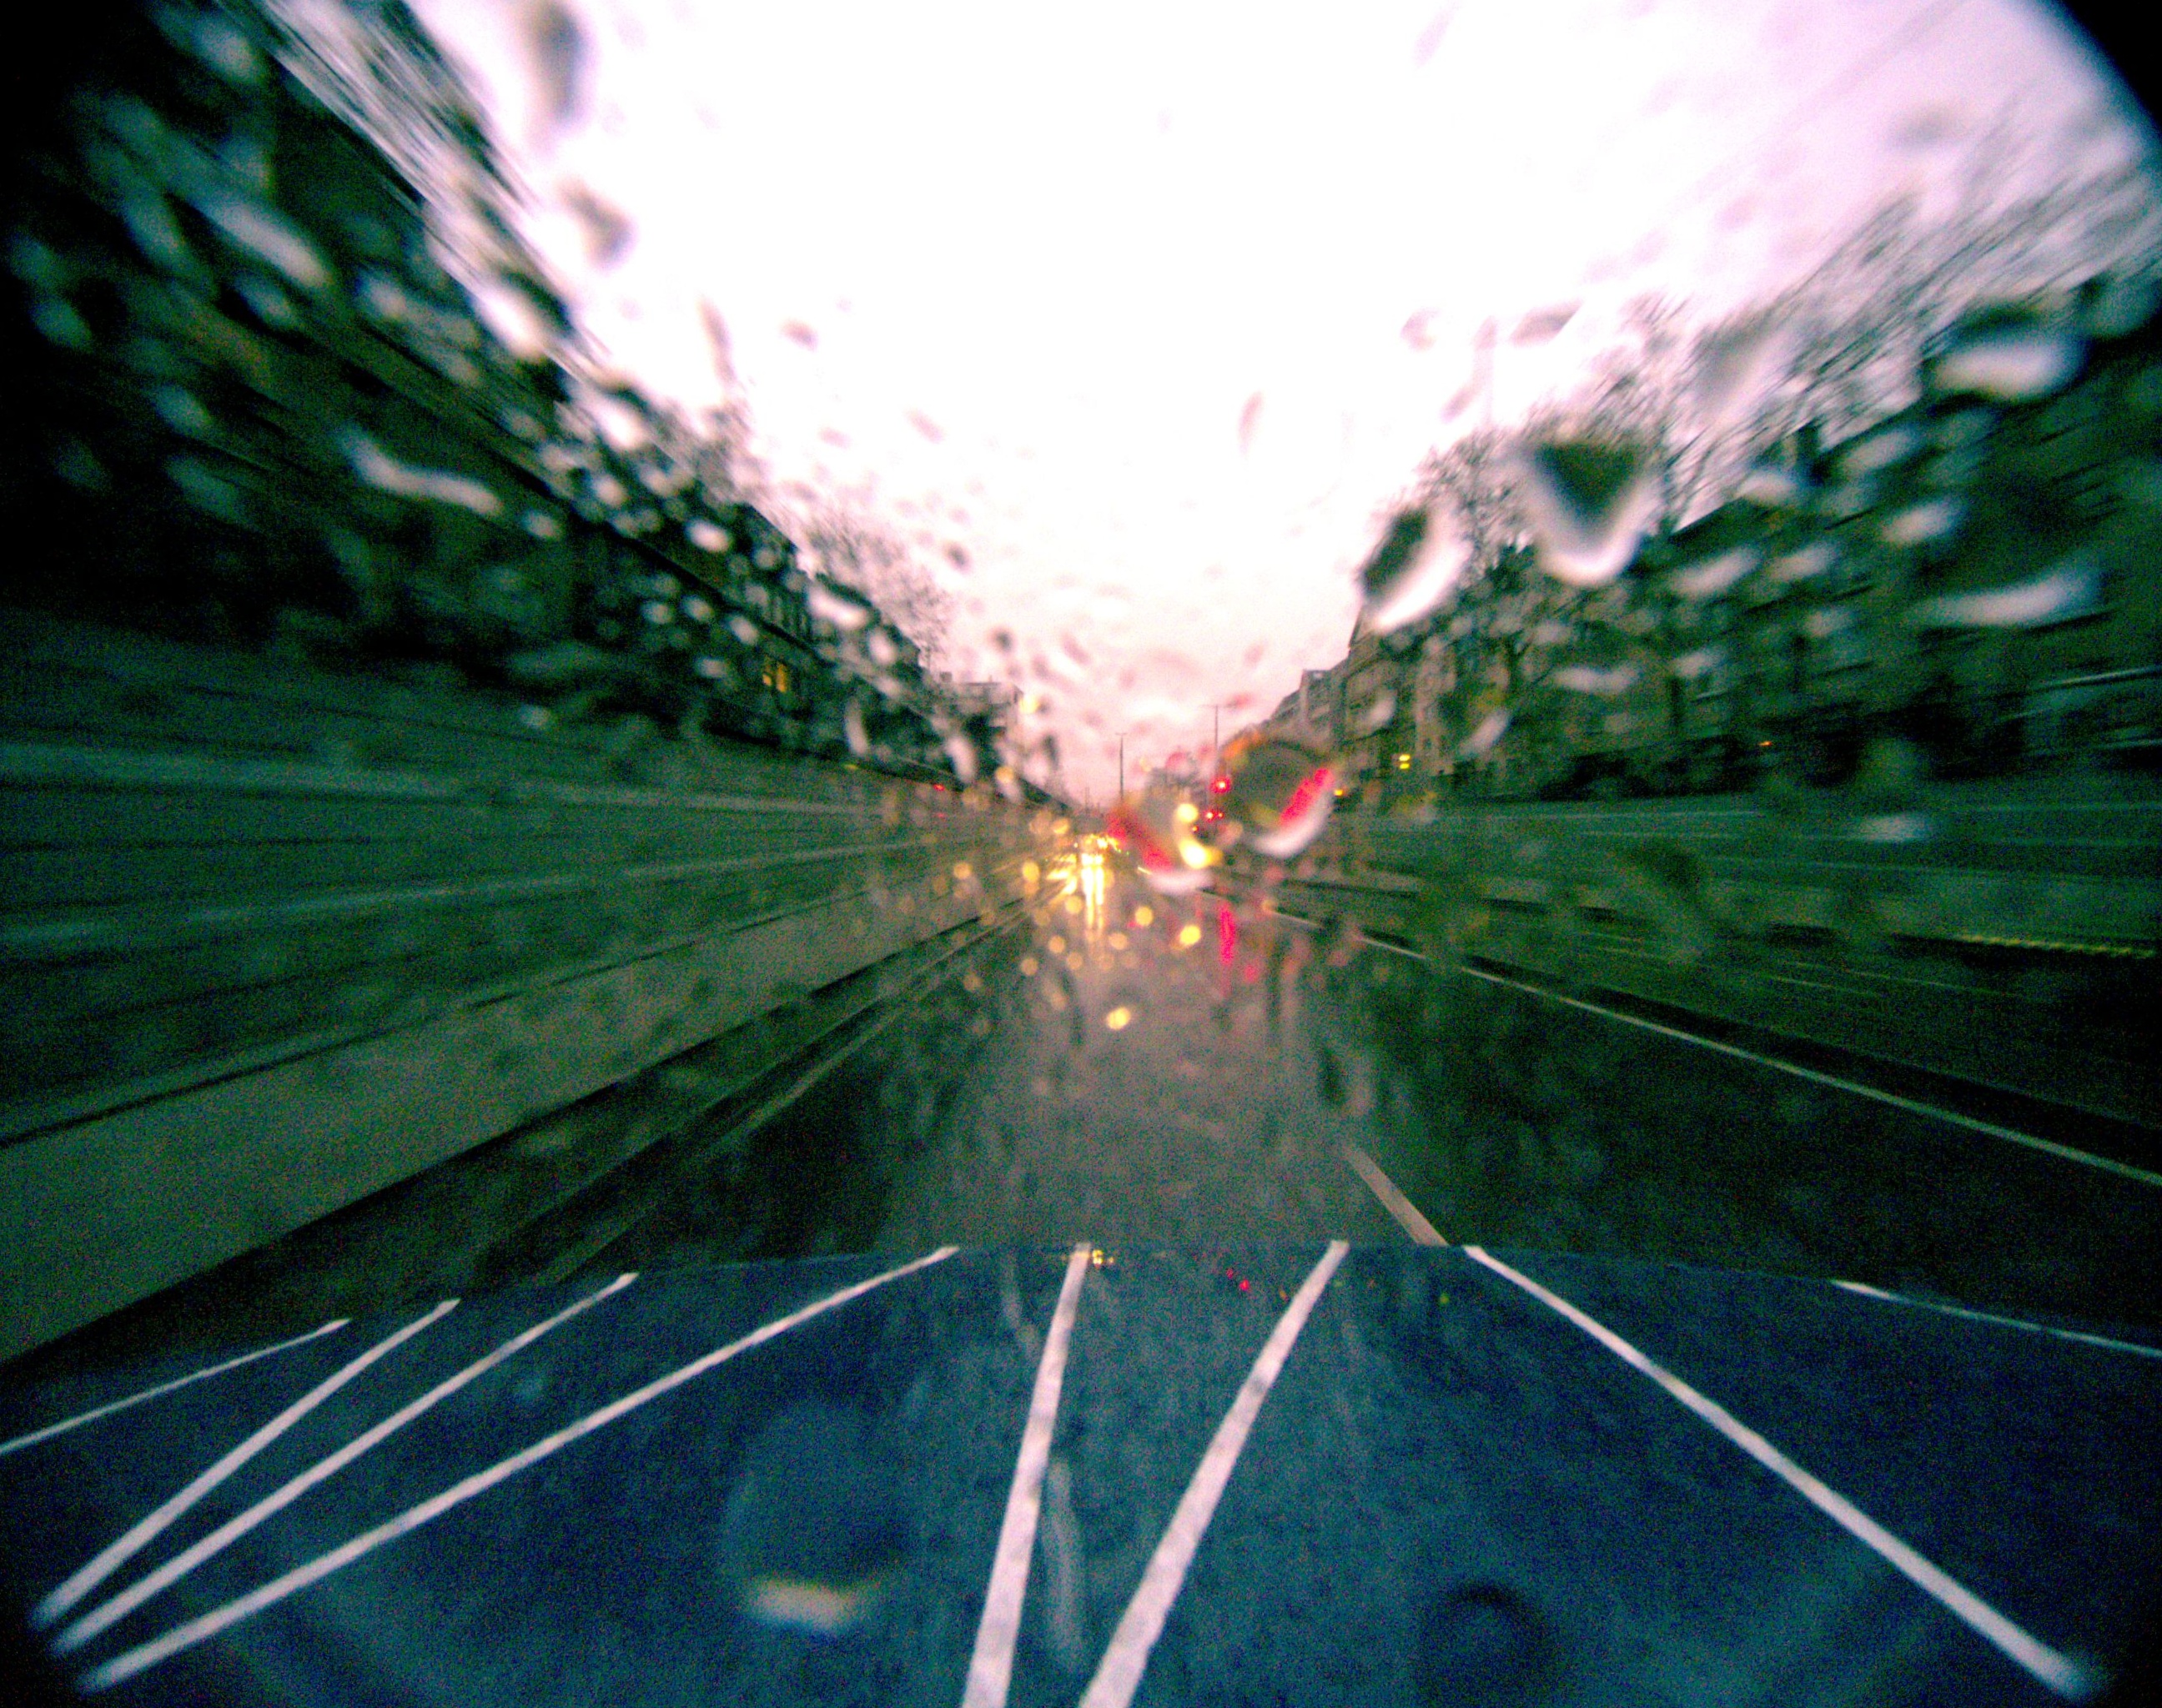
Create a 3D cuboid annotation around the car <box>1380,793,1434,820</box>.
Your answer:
[{"bbox_3d":[18.176,-2.627,42.507,1.569,1.389,3.405,2,2,2],"label":"car"}]

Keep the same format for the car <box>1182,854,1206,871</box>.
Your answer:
[{"bbox_3d":[9.972,0.765,67.192,1.575,1.462,3.687,0,0,1],"label":"car"}]

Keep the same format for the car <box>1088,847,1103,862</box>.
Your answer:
[{"bbox_3d":[2.174,0.026,113.585,2.031,2.018,4.422,-2,2,-1],"label":"car"}]

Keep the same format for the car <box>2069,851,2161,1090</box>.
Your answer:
[{"bbox_3d":[8.021,0.787,3.566,1.789,1.583,3.842,2,0,2],"label":"car"}]

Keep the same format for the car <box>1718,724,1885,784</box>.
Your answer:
[{"bbox_3d":[22.463,-3.065,23.921,1.569,1.464,3.877,2,2,2],"label":"car"}]

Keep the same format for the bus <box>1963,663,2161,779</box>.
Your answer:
[{"bbox_3d":[20.699,-2.584,15.069,1.699,1.860,4.064,2,2,3],"label":"bus"}]
